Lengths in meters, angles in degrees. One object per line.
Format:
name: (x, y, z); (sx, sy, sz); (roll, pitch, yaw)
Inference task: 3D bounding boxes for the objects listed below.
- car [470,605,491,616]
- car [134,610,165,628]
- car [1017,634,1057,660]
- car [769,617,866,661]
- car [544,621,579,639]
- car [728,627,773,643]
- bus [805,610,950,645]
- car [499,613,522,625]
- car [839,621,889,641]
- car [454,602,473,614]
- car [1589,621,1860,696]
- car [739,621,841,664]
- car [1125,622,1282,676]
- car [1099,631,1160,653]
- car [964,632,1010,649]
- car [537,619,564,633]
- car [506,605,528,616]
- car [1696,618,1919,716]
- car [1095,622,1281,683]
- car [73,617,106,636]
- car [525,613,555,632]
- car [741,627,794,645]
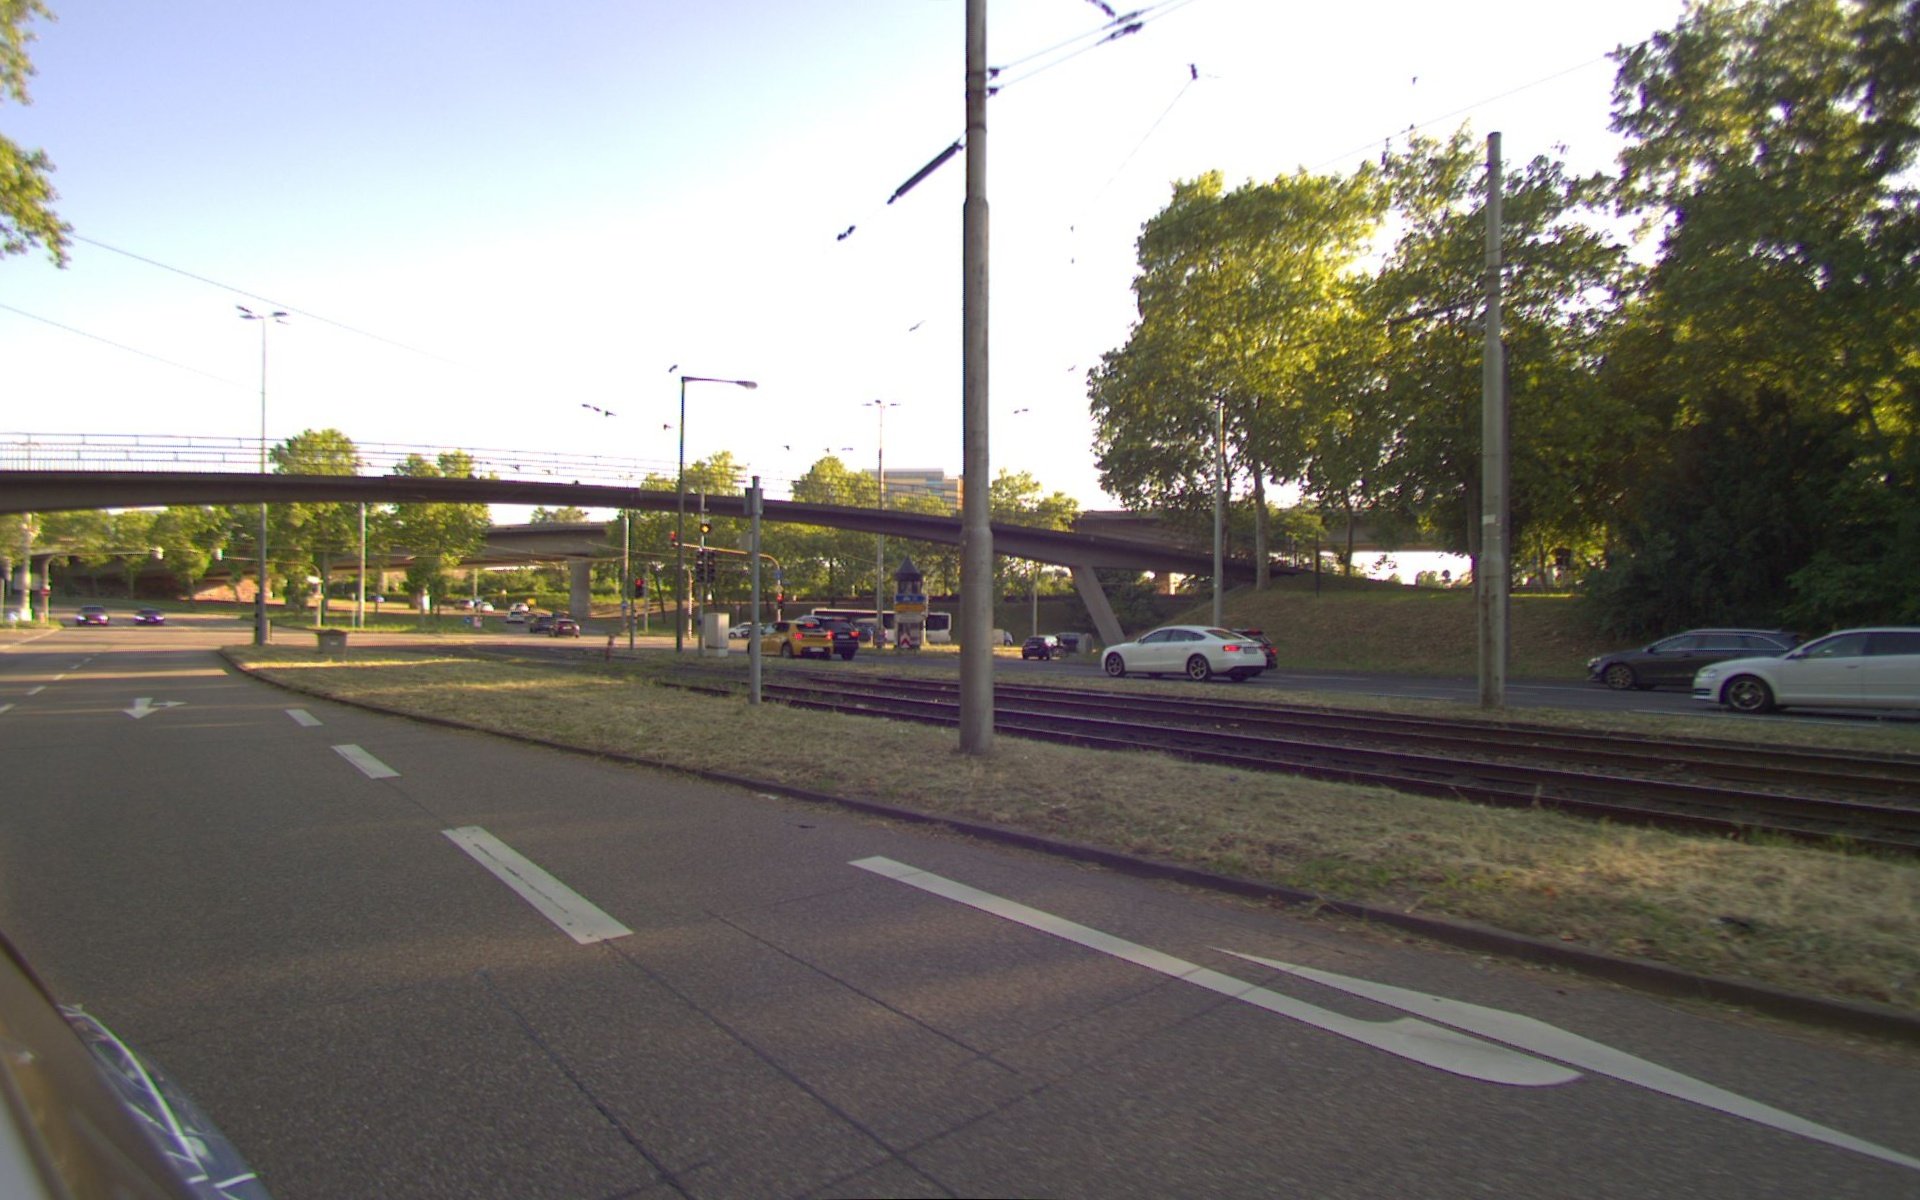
car: (-74.003, 1.621, 156.191); (1.828, 1.621, 4.315); (2, -1, -40)
car: (-70.227, 1.645, 87.626); (1.969, 1.497, 4.006); (1, -2, -40)
car: (4.799, 2.899, 62.506); (1.676, 1.426, 4.171); (-1, -1, 16)
car: (-5.886, 1.545, 41.387); (1.815, 1.667, 4.442); (0, -1, -41)
car: (-30.994, 2.328, 78.603); (1.663, 1.320, 4.321); (1, -1, -33)
car: (-18.355, 3.081, 88.702); (3.670, 1.364, 1.614); (1, -1, -19)
bus: (-7.450, 2.506, 91.654); (12.636, 2.977, 2.839); (1, -1, -15)
car: (-51.948, 2.182, 116.888); (1.977, 1.454, 4.875); (1, -1, -30)
car: (-8.331, 2.702, 87.417); (4.025, 1.665, 1.722); (1, -1, -16)
car: (-79.904, 1.309, 162.989); (1.827, 1.881, 4.154); (2, -1, -39)
car: (17.290, 1.252, 23.101); (1.815, 1.493, 4.608); (0, -1, -39)
car: (-6.120, 1.477, 36.170); (1.815, 1.426, 4.025); (1, -1, -40)
car: (7.285, 1.426, 30.648); (1.815, 1.493, 4.444); (0, -1, -39)
car: (16.210, 4.008, 96.922); (5.336, 2.029, 2.005); (1, -1, -11)
car: (2.527, 3.777, 94.505); (3.932, 1.453, 1.710); (1, -1, -16)
car: (-44.439, 2.769, 109.754); (1.978, 1.454, 4.265); (1, -1, -33)
car: (-66.606, 1.558, 152.130); (1.827, 1.621, 4.379); (2, -1, -38)
car: (14.295, 1.006, 15.798); (1.632, 1.426, 4.266); (0, -1, -39)
car: (5.768, 1.282, 26.154); (1.814, 1.426, 4.609); (1, -2, -38)
car: (-71.110, 2.190, 82.665); (1.968, 1.497, 4.006); (1, -2, -40)
car: (-37.460, 2.010, 90.202); (1.766, 1.663, 4.369); (1, -1, -32)
car: (-15.702, 2.931, 82.516); (4.025, 1.364, 1.722); (1, -1, -16)
